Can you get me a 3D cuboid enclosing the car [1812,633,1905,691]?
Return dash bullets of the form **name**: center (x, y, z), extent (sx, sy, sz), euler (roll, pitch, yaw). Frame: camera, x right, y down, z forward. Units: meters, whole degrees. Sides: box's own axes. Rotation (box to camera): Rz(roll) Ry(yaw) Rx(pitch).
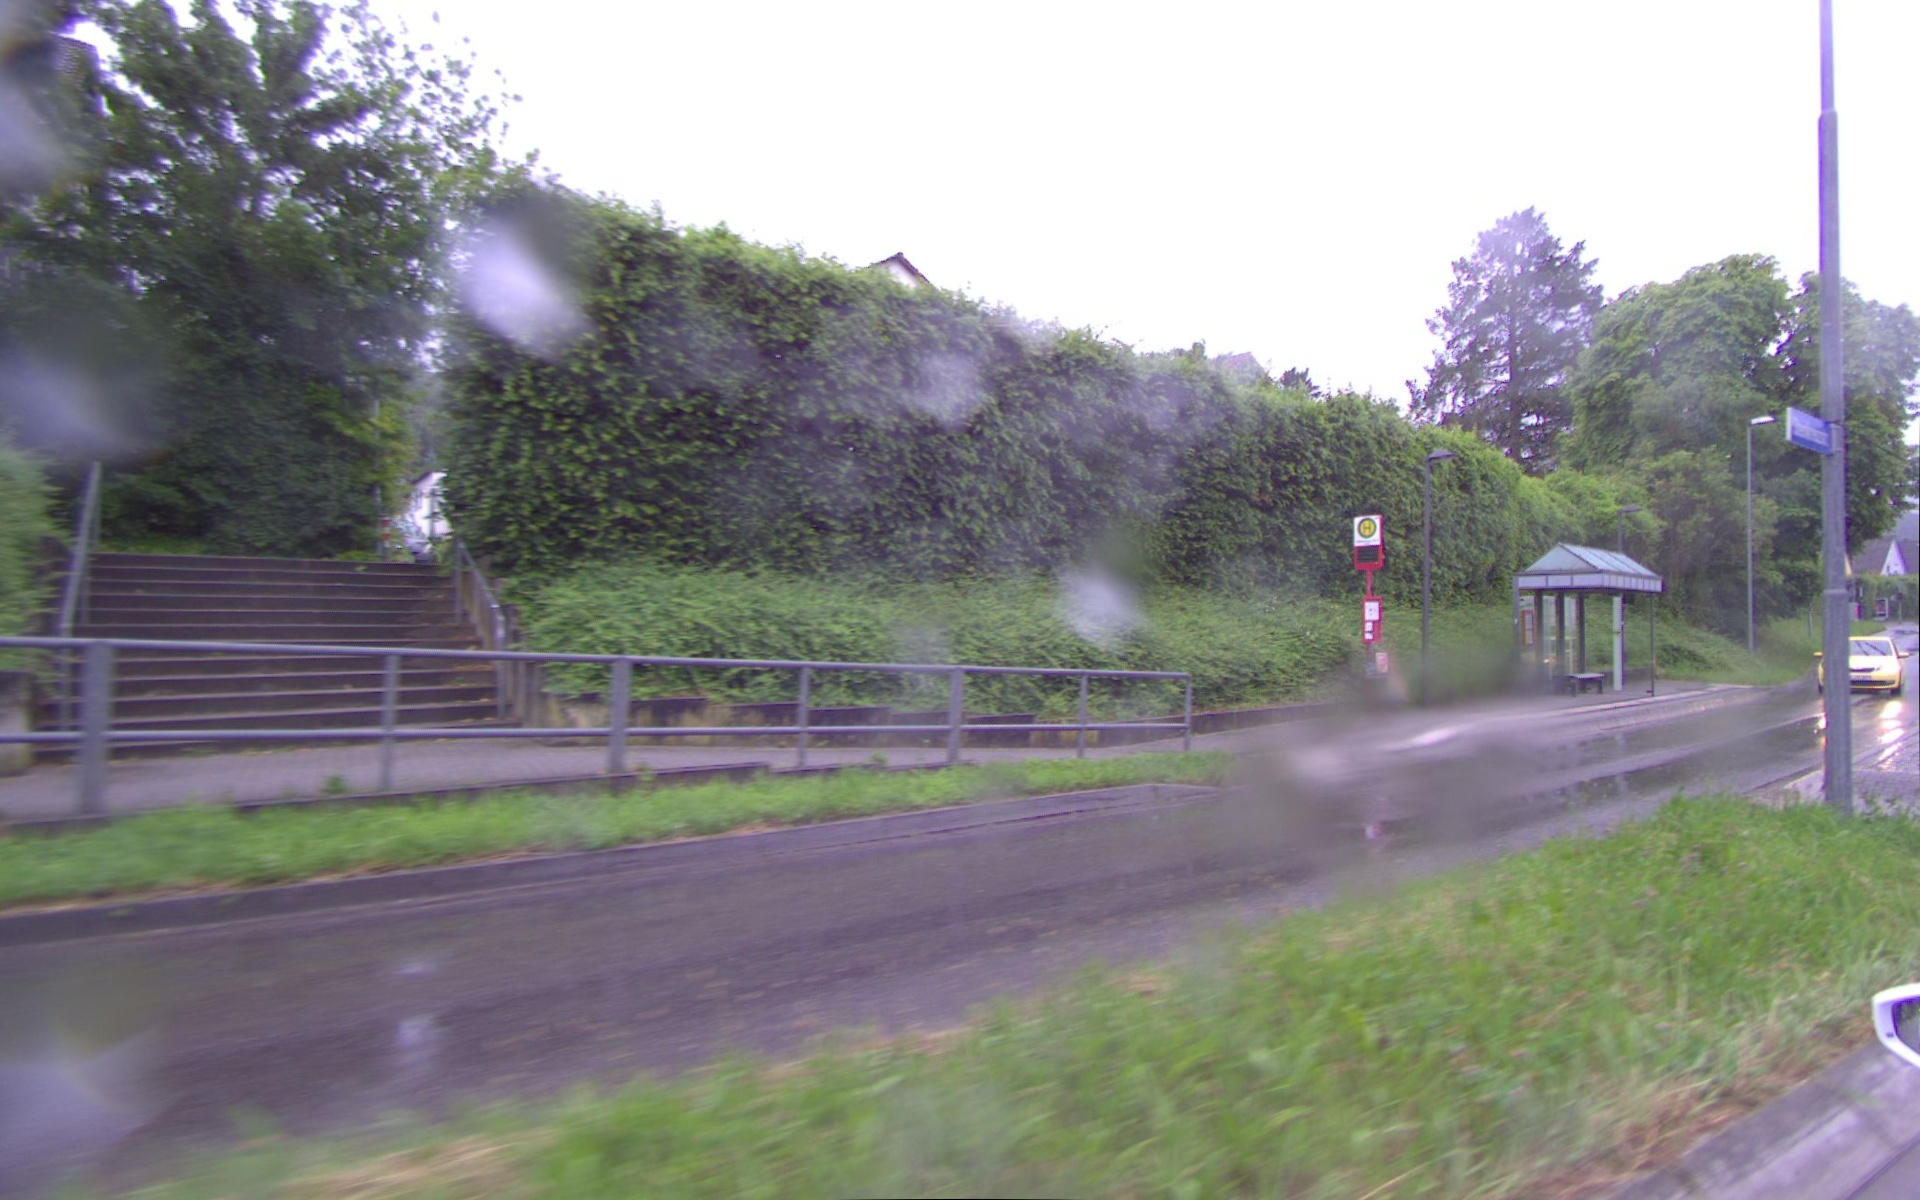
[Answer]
- **car**: center (24.101, 1.619, 26.917), extent (3.450, 1.429, 1.557), euler (1, -3, -44)
